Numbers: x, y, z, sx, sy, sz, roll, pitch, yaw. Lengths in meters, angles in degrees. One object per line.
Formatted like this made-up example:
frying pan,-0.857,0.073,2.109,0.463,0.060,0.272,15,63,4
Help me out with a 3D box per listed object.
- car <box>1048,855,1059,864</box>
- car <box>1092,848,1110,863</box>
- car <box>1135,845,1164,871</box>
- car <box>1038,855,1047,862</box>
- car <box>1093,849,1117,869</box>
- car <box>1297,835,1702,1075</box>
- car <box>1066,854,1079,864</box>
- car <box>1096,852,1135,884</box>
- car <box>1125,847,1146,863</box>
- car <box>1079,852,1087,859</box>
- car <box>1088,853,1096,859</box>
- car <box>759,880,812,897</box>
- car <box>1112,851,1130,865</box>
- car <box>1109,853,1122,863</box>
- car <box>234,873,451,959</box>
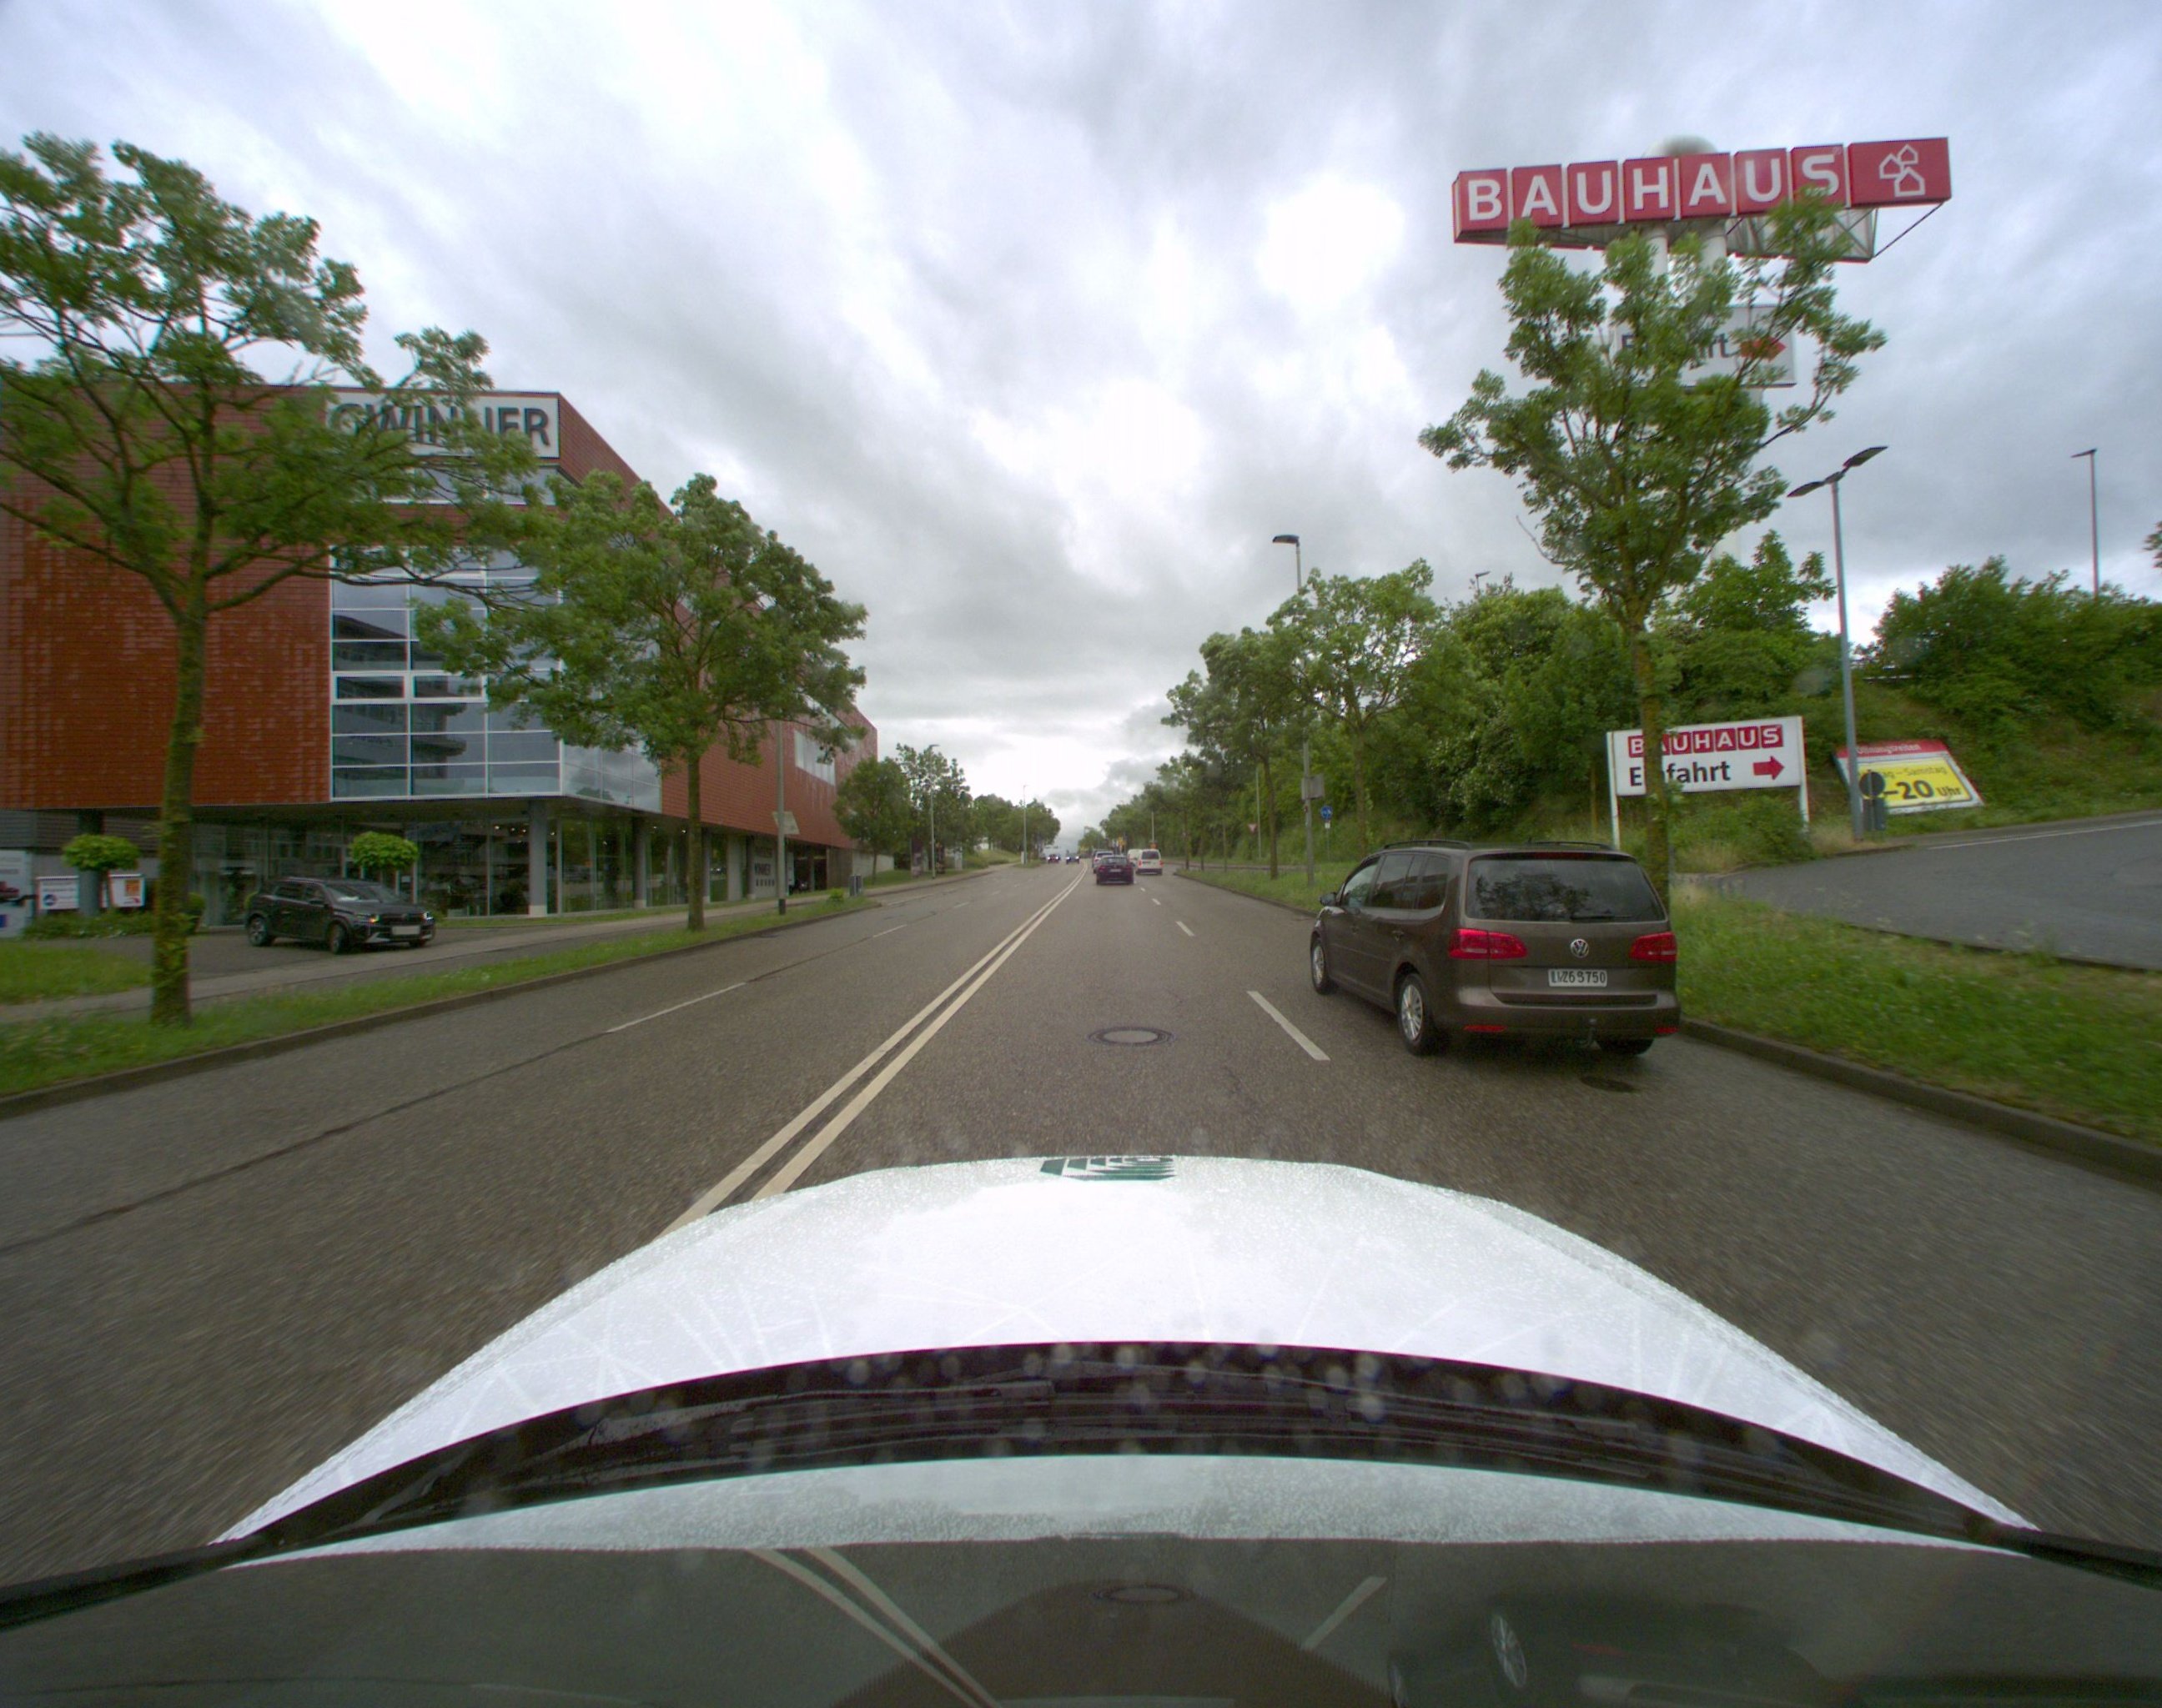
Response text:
car,-4.450,0.922,134.291,1.789,1.510,3.997,0,-1,-2
car,2.107,0.143,84.248,1.788,1.510,4.001,0,-1,1
car,4.836,0.288,57.891,1.821,1.759,4.001,0,0,1
car,-8.525,1.106,180.220,1.789,1.510,3.997,0,-1,-2
car,1.805,0.421,63.432,1.788,1.510,4.000,0,-1,0
car,3.314,0.656,7.479,1.679,1.581,4.220,0,0,2
car,-1.270,0.761,118.210,1.789,1.510,3.997,0,-1,-2
car,1.746,0.655,41.013,1.820,1.468,4.002,-1,0,2
car,5.296,0.105,79.614,1.789,1.510,3.998,0,-1,-1
car,0.451,0.296,188.392,1.788,1.510,3.999,0,-1,0
car,2.664,0.425,198.413,1.788,1.510,3.999,0,-1,0
car,-23.129,2.694,63.781,3.520,1.284,1.522,0,-1,4
car,4.589,0.475,93.547,1.789,1.510,3.997,0,-1,-2
car,5.509,0.673,129.999,1.789,1.510,3.997,0,-1,-2
car,-17.424,1.389,19.249,4.236,1.682,1.808,2,0,17
